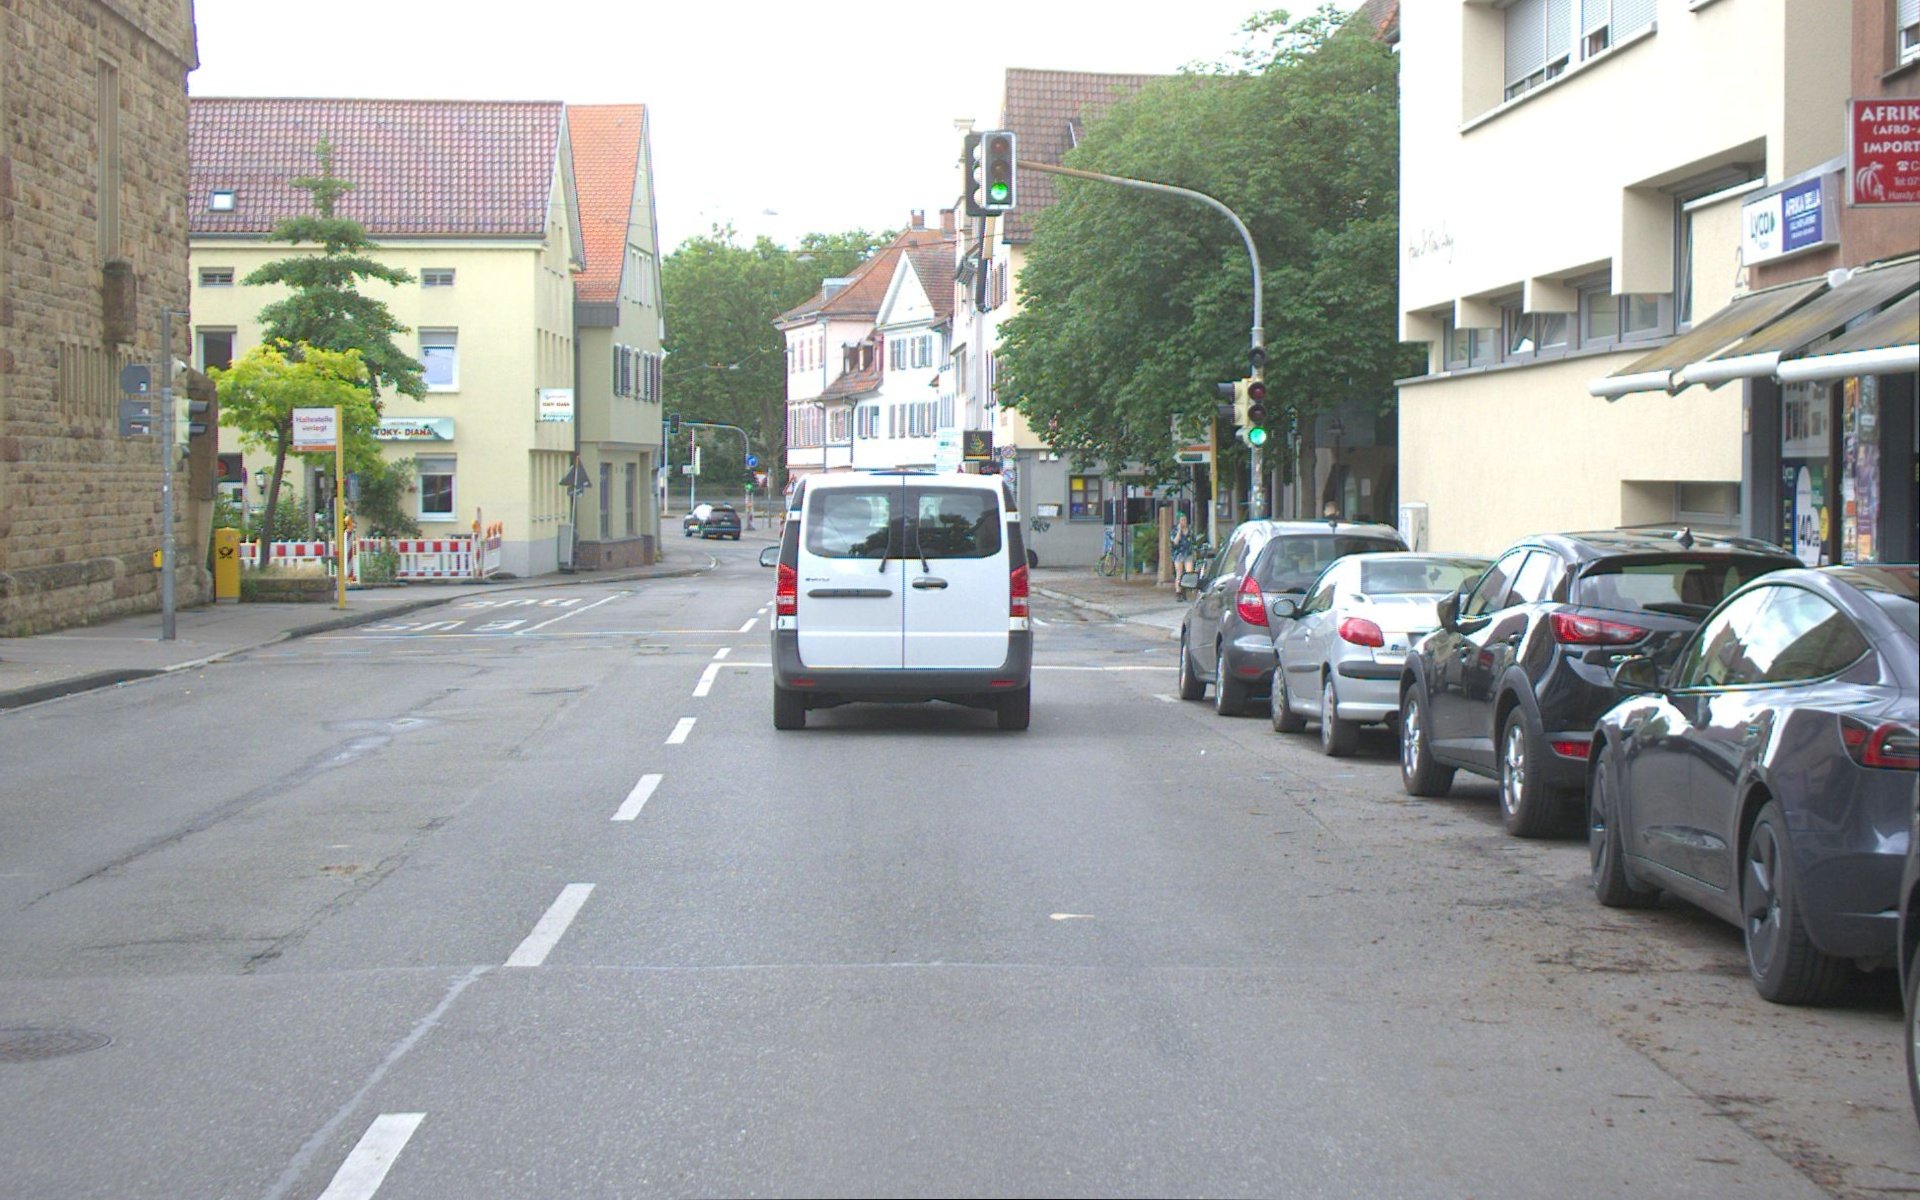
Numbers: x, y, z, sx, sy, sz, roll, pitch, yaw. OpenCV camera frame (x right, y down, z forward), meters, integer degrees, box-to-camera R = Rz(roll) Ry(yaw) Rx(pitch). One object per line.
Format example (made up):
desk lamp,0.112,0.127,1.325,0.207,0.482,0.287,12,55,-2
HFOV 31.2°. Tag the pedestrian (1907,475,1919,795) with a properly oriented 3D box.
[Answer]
pedestrian,5.279,0.185,17.399,0.701,1.643,0.889,-1,2,-2

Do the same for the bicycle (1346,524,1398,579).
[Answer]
bicycle,8.244,-0.975,68.863,0.544,1.065,2.292,0,2,-6

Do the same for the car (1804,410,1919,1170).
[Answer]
car,3.221,0.485,6.765,1.819,1.775,4.404,1,1,-3

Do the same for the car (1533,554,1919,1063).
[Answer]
car,3.313,0.575,12.229,1.751,1.401,4.512,0,2,0

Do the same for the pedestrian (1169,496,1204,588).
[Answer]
pedestrian,4.259,-1.101,64.637,0.602,1.710,0.859,0,2,6

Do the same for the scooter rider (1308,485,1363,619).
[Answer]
scooter rider,4.612,-0.587,42.224,0.452,1.626,0.505,-3,0,-16

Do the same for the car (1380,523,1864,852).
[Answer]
car,3.376,0.366,18.284,1.601,1.513,4.210,-1,2,-2

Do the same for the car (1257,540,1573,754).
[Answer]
car,3.101,0.273,24.086,1.551,1.328,3.813,1,2,-2

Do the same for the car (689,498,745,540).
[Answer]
car,-12.255,-4.086,172.962,1.934,2.007,4.001,1,1,-17

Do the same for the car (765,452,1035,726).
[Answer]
car,-0.438,-0.118,26.051,1.872,1.905,4.000,0,1,0

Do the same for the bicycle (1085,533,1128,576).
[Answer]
bicycle,3.830,-1.202,90.167,0.499,1.102,1.639,-1,2,-22

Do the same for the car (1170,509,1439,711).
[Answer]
car,2.804,0.030,28.726,1.711,1.555,3.786,0,2,-2
